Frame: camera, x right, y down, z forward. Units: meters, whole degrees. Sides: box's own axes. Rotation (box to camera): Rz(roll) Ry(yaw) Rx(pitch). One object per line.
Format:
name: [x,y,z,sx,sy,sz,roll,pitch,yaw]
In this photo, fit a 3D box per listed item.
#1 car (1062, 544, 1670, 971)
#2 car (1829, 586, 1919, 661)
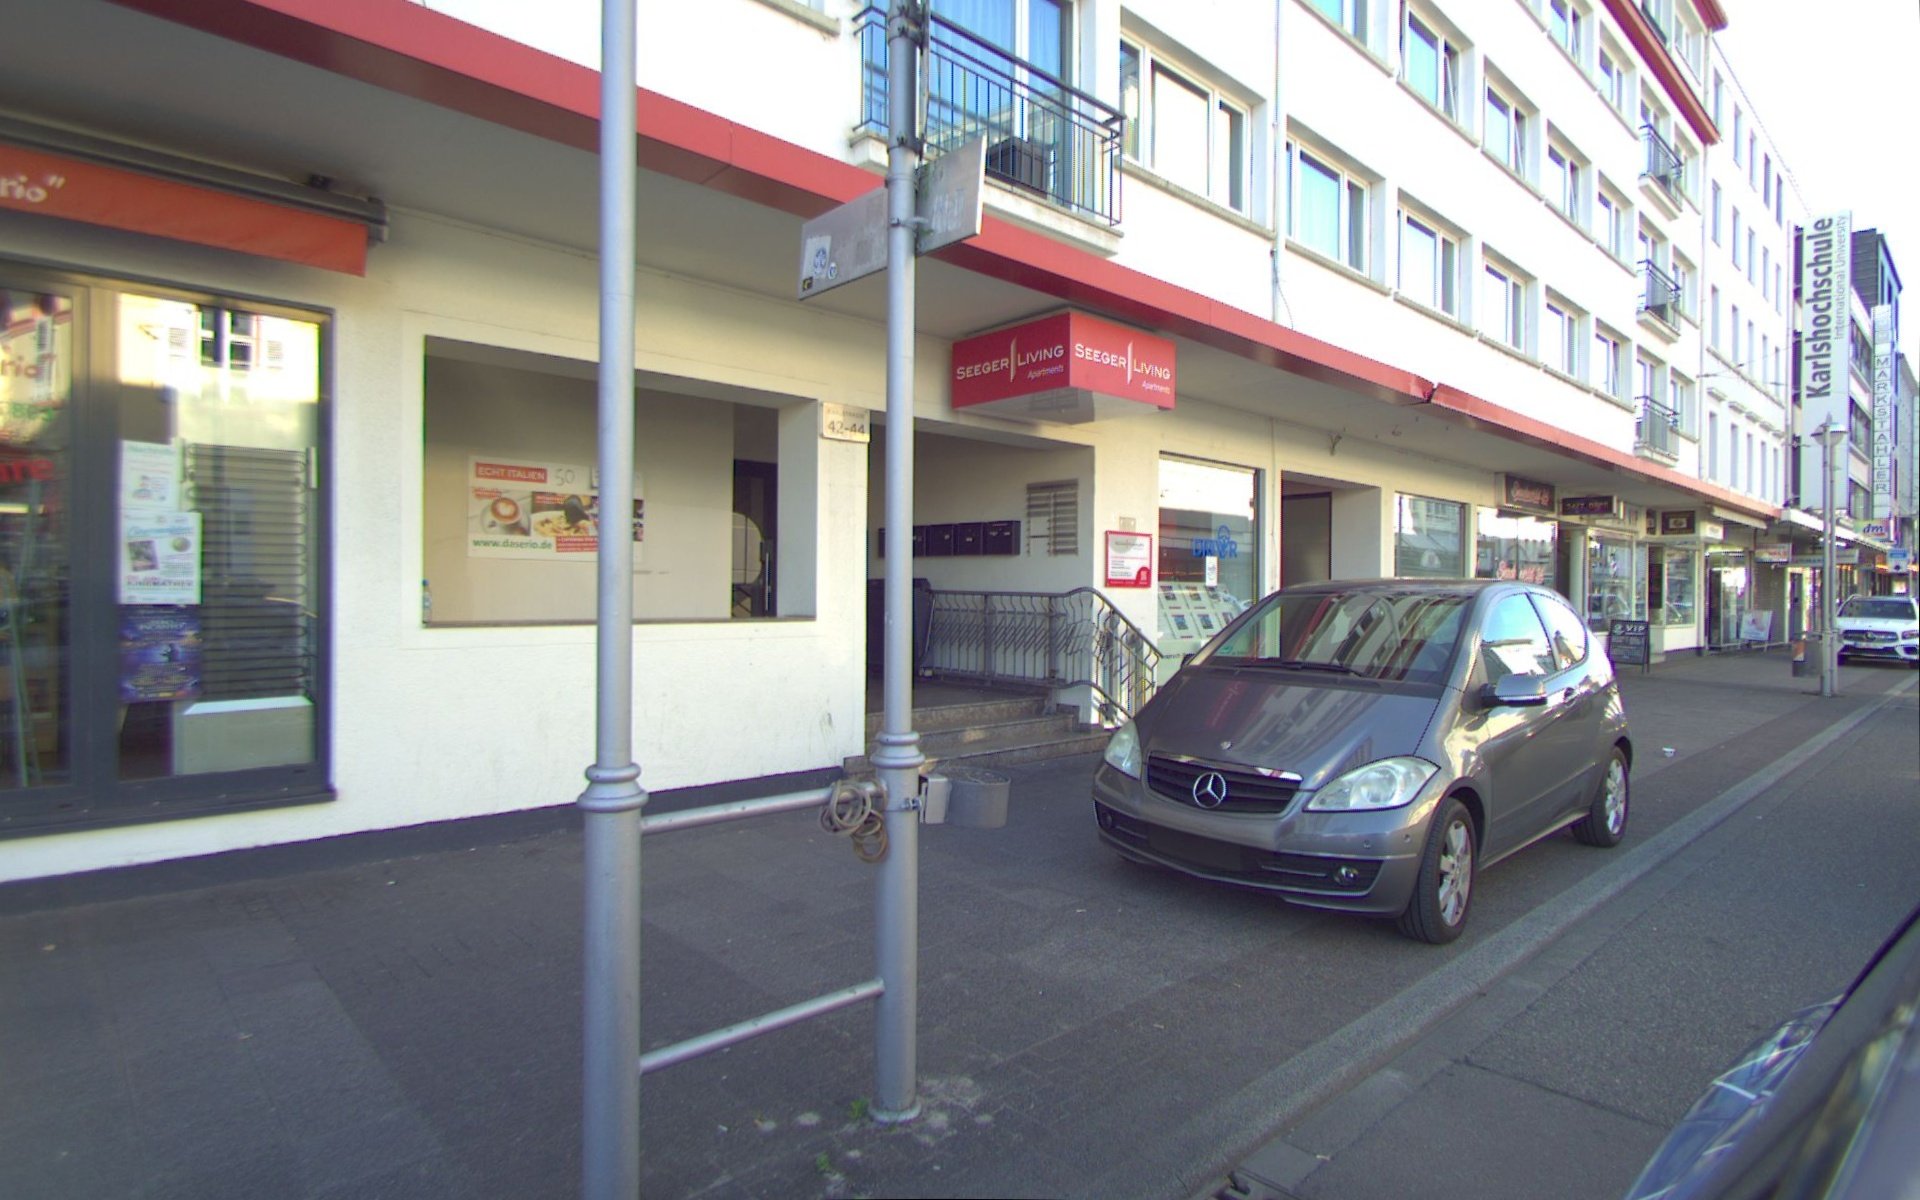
car: [2.501,0.581,5.691,3.932,1.565,1.681,0,0,-43]
car: [22.394,0.516,24.350,1.994,1.650,3.935,1,1,45]
